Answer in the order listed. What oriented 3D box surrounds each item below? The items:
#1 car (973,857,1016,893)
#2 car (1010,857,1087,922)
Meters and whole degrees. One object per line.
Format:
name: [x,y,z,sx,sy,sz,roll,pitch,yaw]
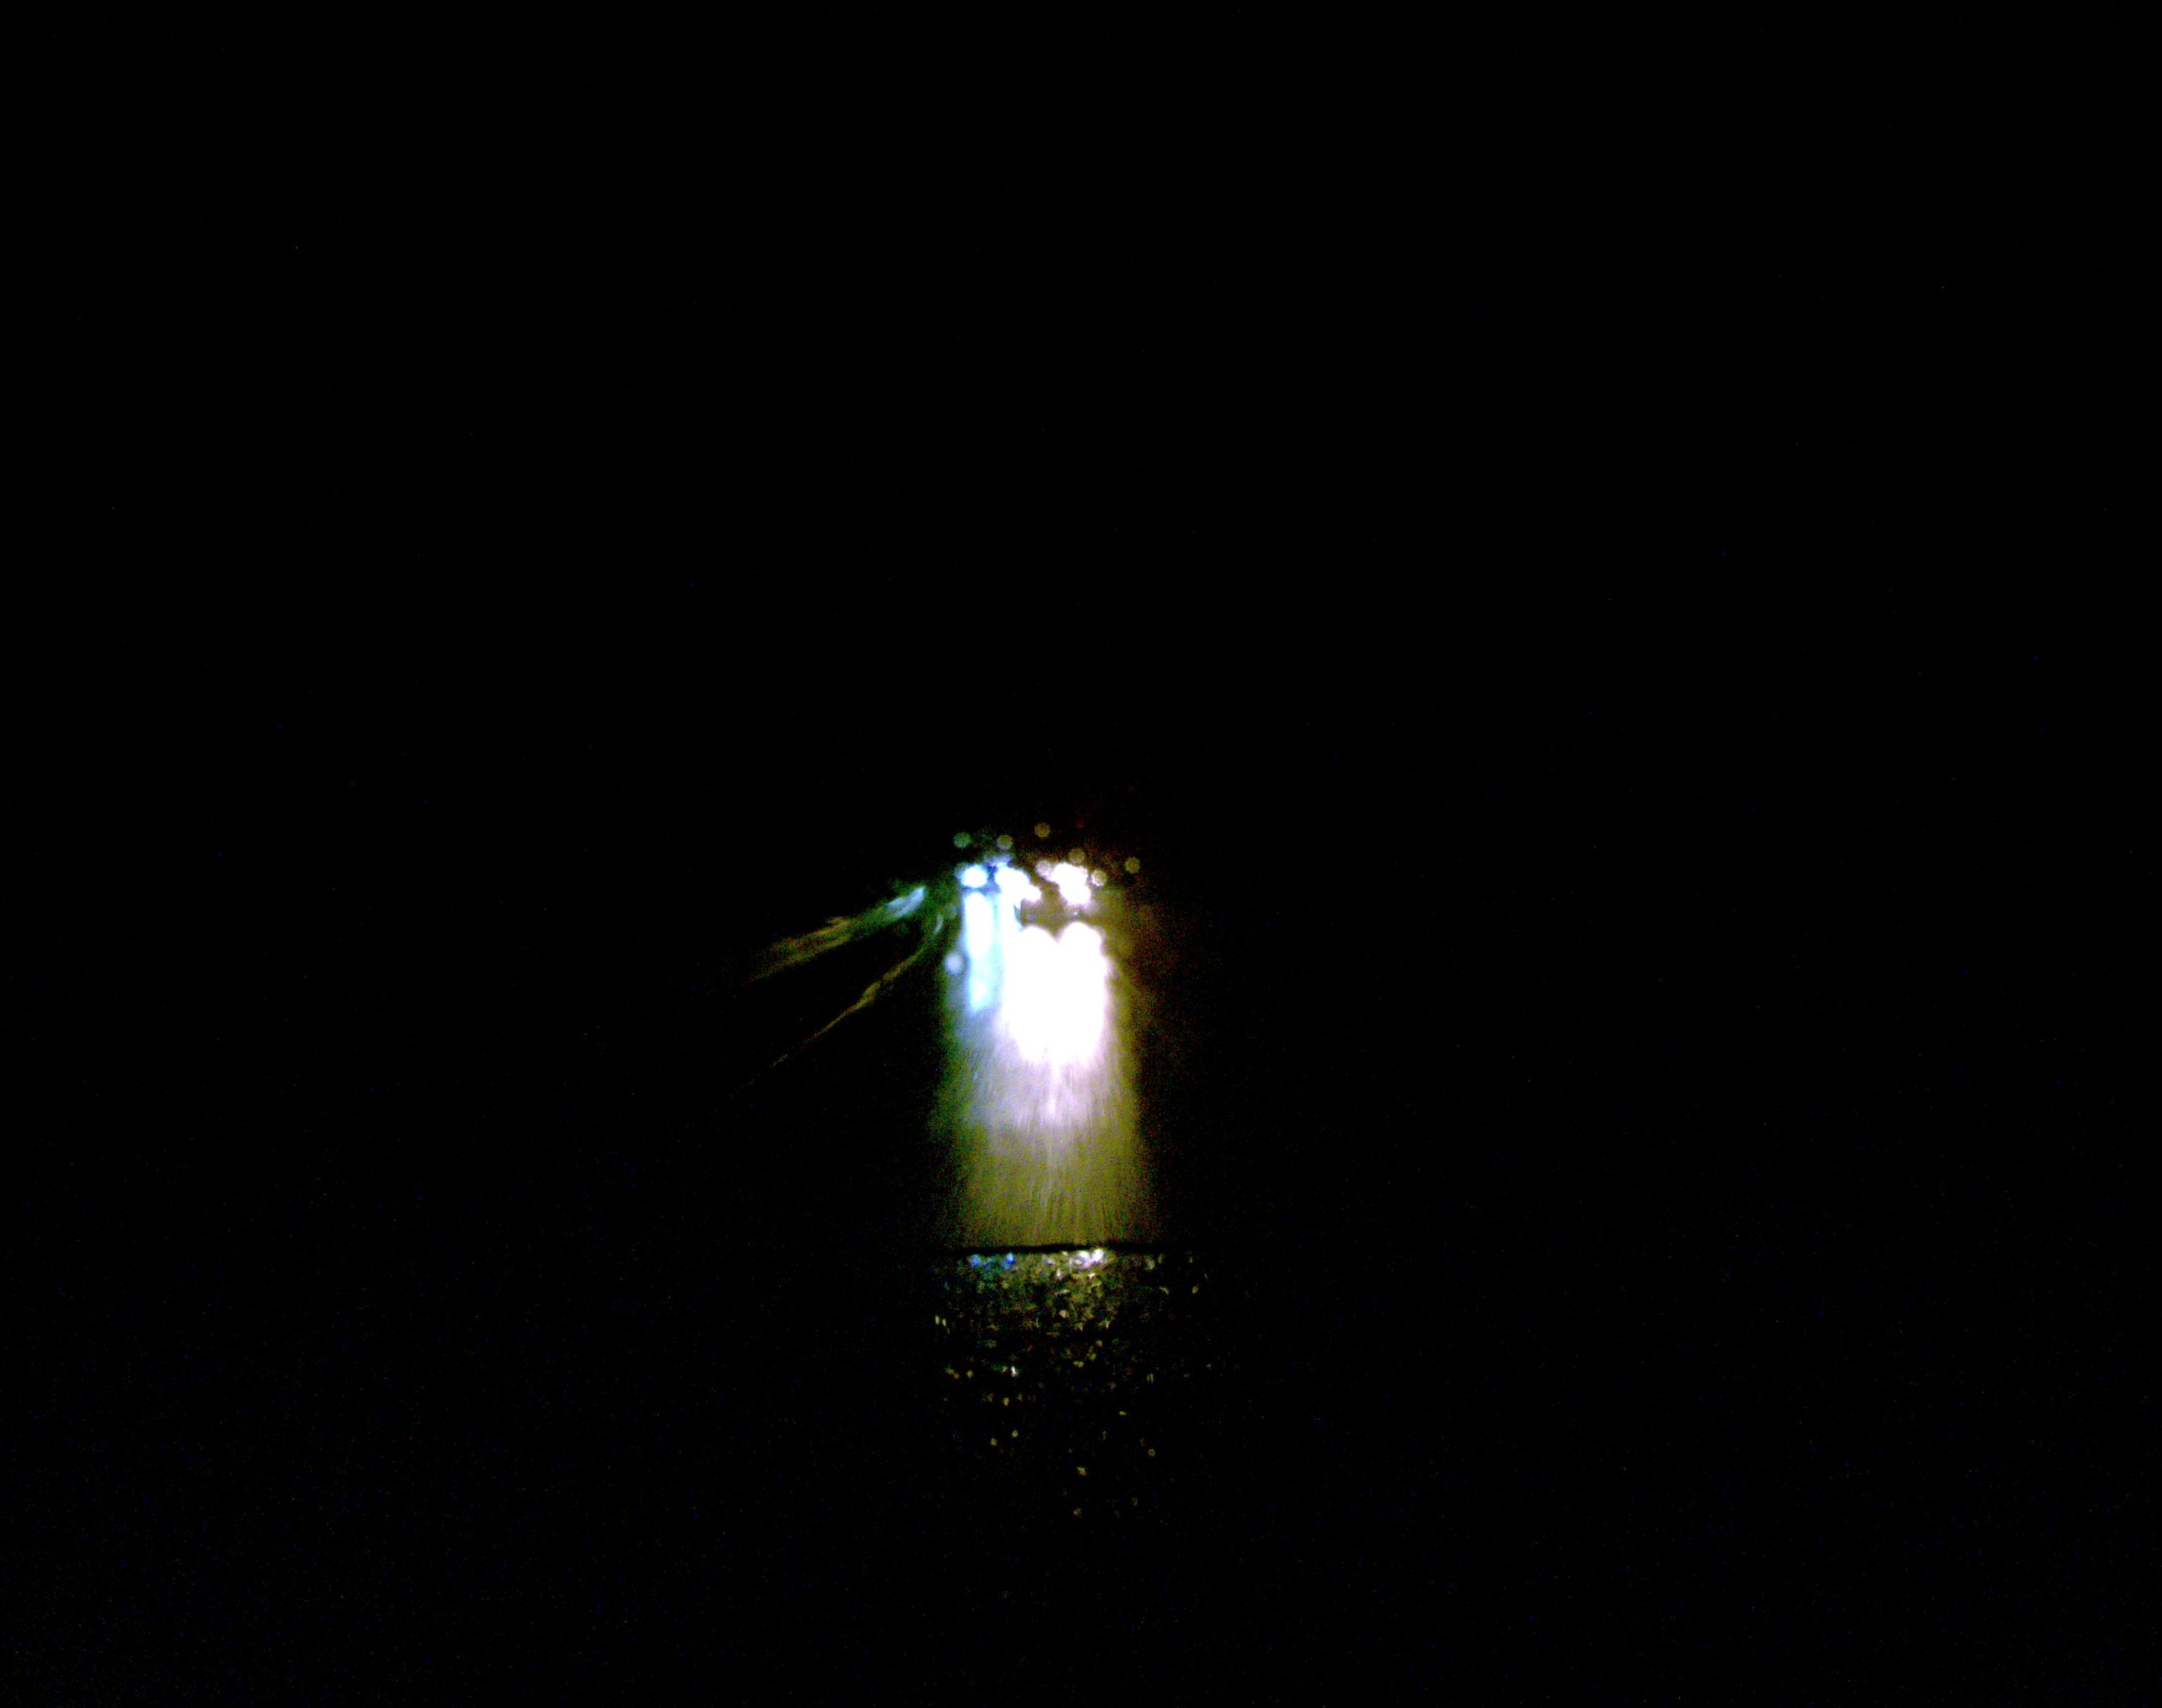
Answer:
car: [-4.082,0.941,36.189,1.850,1.441,3.872,-3,1,-5]
car: [-0.921,0.896,21.133,1.849,1.441,3.998,-3,1,-3]
